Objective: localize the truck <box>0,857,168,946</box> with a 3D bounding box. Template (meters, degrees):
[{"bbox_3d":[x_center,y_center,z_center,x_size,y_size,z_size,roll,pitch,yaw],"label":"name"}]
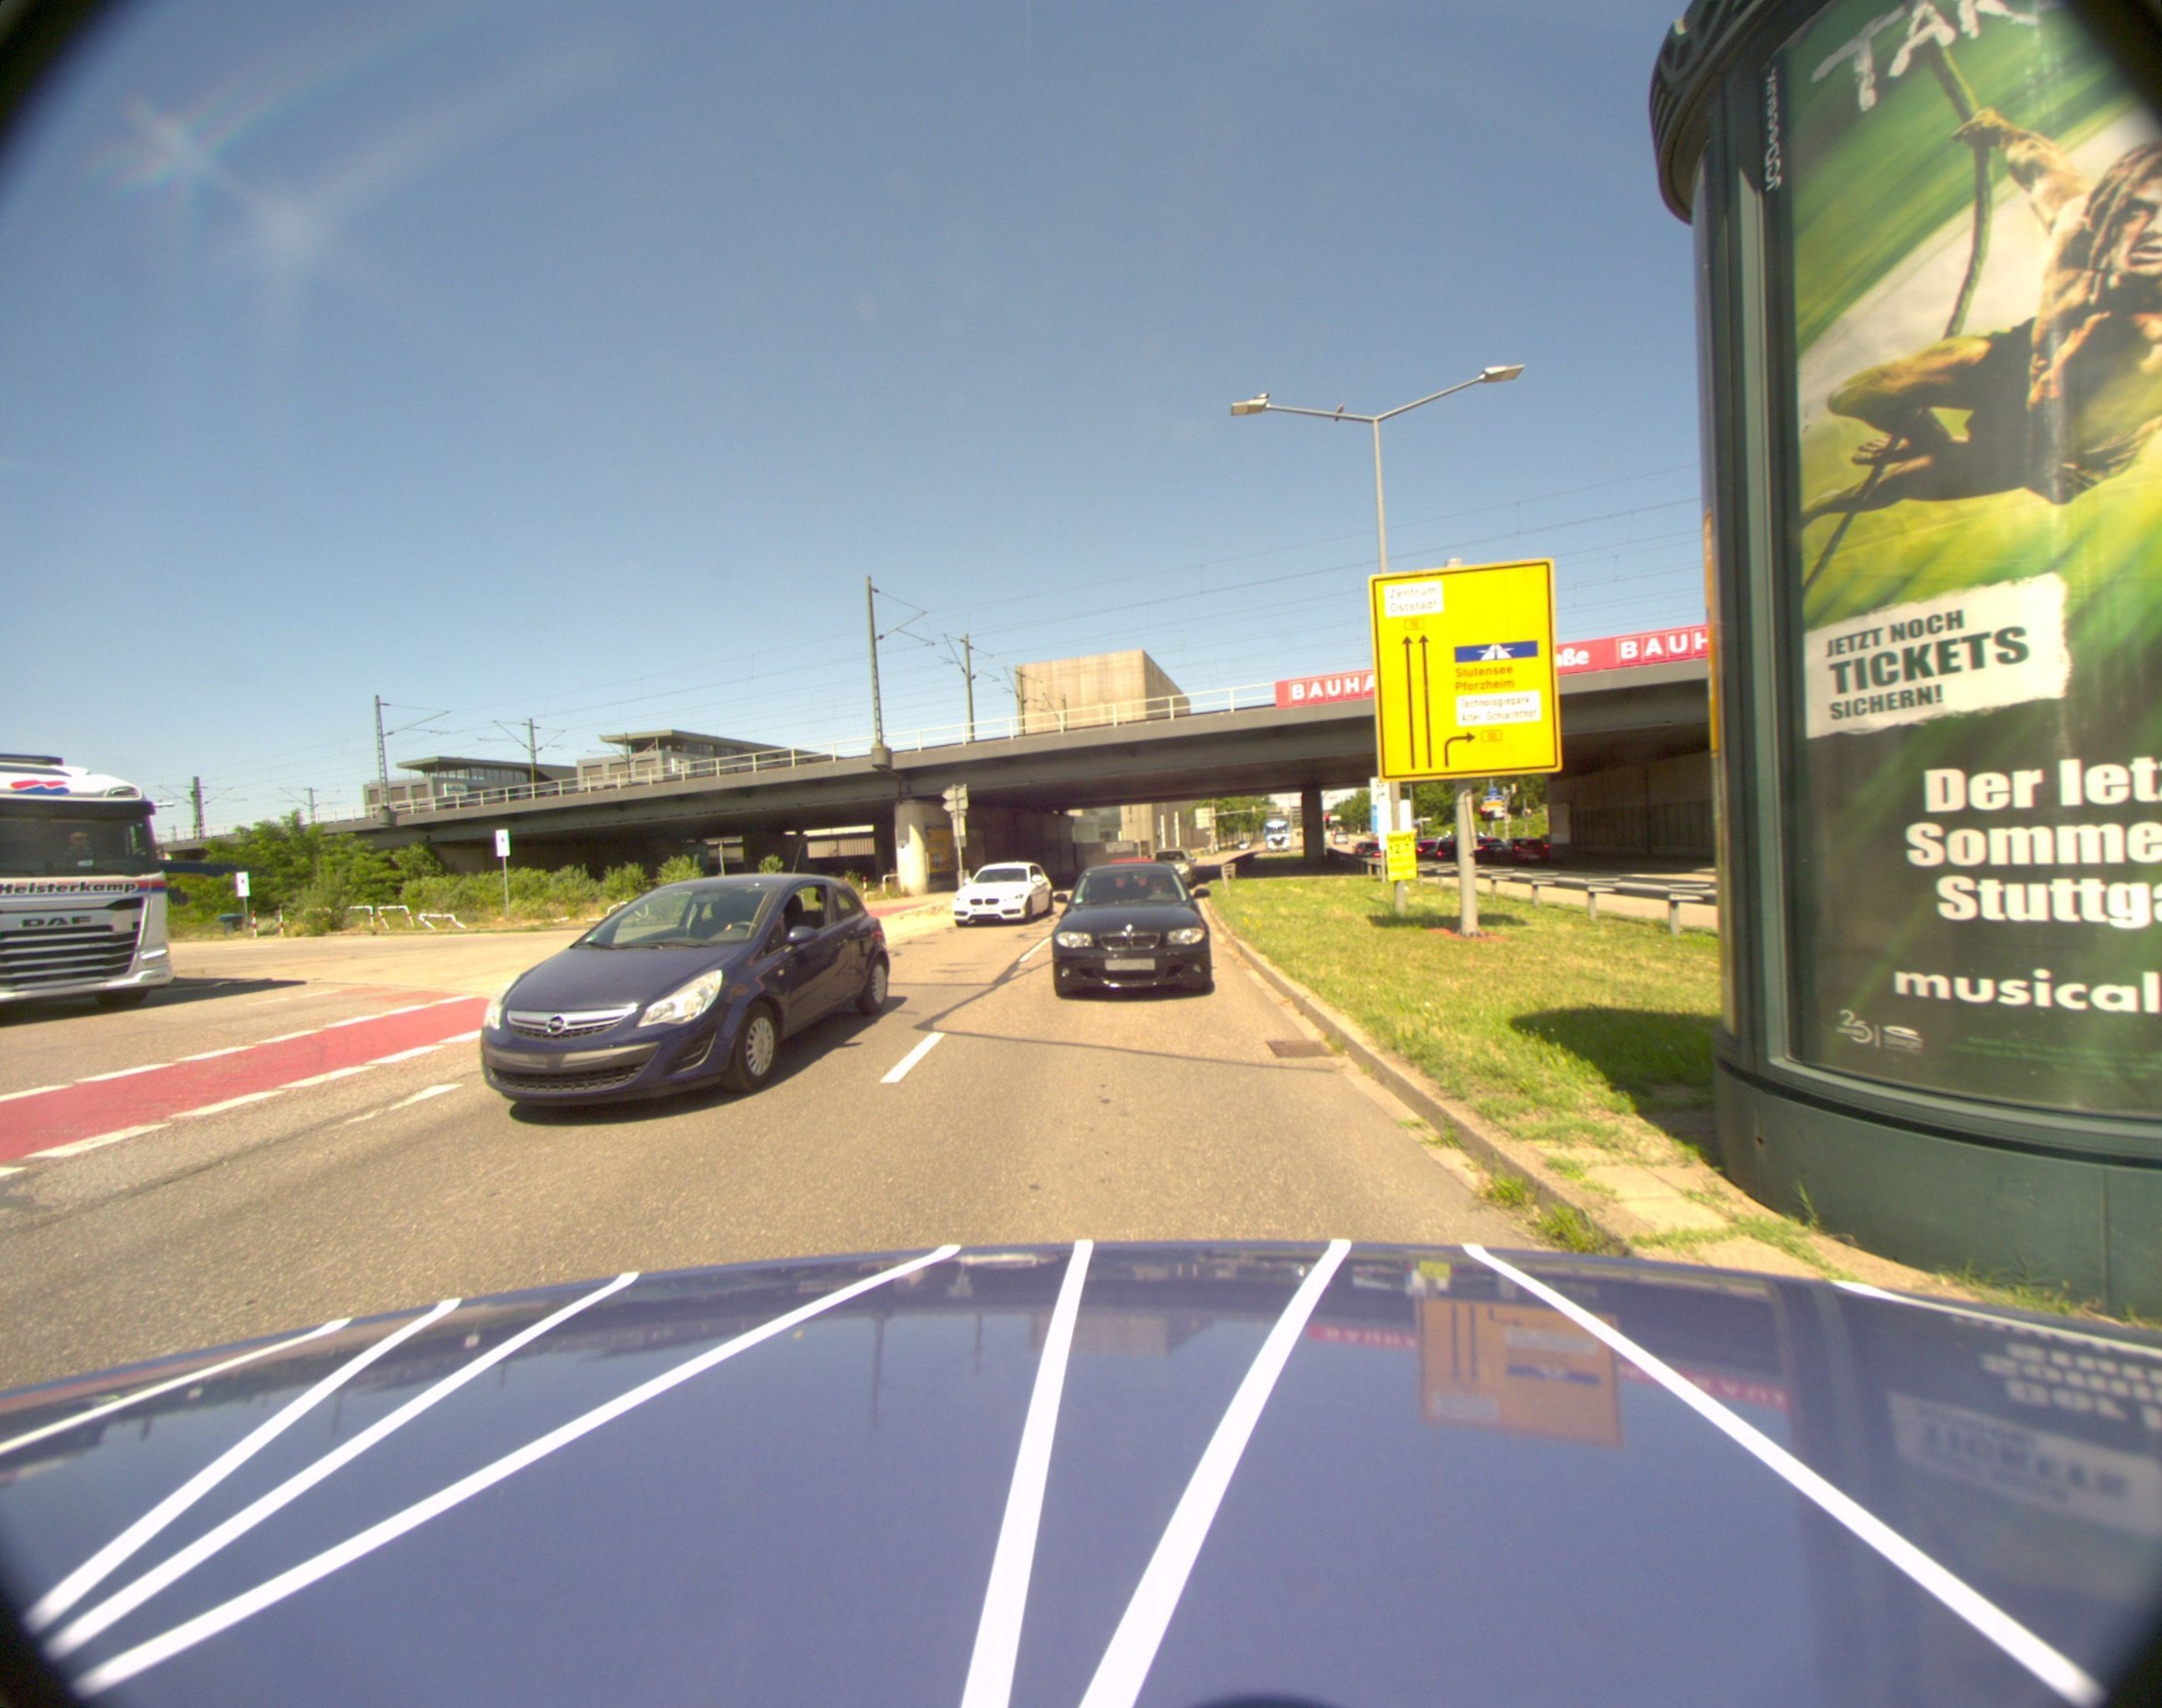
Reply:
[{"bbox_3d":[-50.722,2.242,38.373,2.595,4.014,6.198,-3,1,-15],"label":"truck"}]

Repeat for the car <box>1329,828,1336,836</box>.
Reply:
[{"bbox_3d":[73.786,-6.439,222.864,1.996,2.002,4.004,-2,1,17],"label":"car"}]

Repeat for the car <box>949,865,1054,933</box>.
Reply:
[{"bbox_3d":[-1.833,1.030,18.877,1.762,1.435,4.054,-1,0,6],"label":"car"}]

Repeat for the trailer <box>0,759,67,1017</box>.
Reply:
[{"bbox_3d":[-23.630,0.893,14.289,13.873,4.066,2.504,-3,1,25],"label":"trailer"}]

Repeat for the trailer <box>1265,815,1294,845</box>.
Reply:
[{"bbox_3d":[25.244,-2.993,96.024,2.959,3.354,13.909,-2,1,17],"label":"trailer"}]

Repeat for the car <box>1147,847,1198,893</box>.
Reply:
[{"bbox_3d":[3.797,0.598,31.078,1.844,1.686,3.702,-2,1,9],"label":"car"}]

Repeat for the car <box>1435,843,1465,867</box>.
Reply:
[{"bbox_3d":[19.791,0.030,40.823,1.269,1.178,2.781,-2,1,22],"label":"car"}]

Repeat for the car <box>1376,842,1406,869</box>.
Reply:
[{"bbox_3d":[16.646,0.057,40.916,1.410,1.311,3.265,-2,1,21],"label":"car"}]

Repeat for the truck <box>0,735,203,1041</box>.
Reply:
[{"bbox_3d":[-17.000,0.534,11.517,5.750,4.078,2.579,-2,1,17],"label":"truck"}]

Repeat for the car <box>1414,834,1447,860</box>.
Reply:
[{"bbox_3d":[21.416,-0.447,46.628,1.617,1.468,3.437,-2,1,22],"label":"car"}]

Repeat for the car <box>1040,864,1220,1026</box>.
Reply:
[{"bbox_3d":[0.520,0.903,9.355,1.681,1.409,4.056,-2,1,1],"label":"car"}]

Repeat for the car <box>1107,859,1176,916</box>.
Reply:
[{"bbox_3d":[1.758,0.859,21.025,1.645,1.390,4.055,-1,0,8],"label":"car"}]

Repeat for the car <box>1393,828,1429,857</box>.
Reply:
[{"bbox_3d":[23.093,-0.811,53.281,1.904,1.849,4.005,-2,1,19],"label":"car"}]

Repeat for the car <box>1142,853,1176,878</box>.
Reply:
[{"bbox_3d":[5.157,0.747,49.851,1.715,1.434,4.003,-2,1,12],"label":"car"}]

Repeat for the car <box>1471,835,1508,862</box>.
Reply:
[{"bbox_3d":[24.218,-0.327,45.126,1.571,1.494,3.412,-2,1,22],"label":"car"}]

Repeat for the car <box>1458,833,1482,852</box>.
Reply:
[{"bbox_3d":[26.355,-0.801,51.543,1.183,1.241,2.696,-2,1,22],"label":"car"}]

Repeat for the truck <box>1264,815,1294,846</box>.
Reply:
[{"bbox_3d":[23.525,-2.750,89.901,3.017,3.397,6.573,-2,1,17],"label":"truck"}]

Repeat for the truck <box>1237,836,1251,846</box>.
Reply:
[{"bbox_3d":[25.238,-2.049,117.515,1.729,1.493,4.004,-2,1,17],"label":"truck"}]

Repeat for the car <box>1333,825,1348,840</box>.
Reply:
[{"bbox_3d":[38.383,-3.136,112.175,1.996,2.002,4.005,-2,1,19],"label":"car"}]

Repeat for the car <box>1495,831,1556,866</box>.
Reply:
[{"bbox_3d":[22.970,-0.331,39.394,1.774,1.658,4.019,-2,1,16],"label":"car"}]

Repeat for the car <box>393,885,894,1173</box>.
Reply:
[{"bbox_3d":[-2.954,1.075,6.225,1.650,1.435,3.892,-2,0,3],"label":"car"}]

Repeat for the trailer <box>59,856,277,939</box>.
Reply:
[{"bbox_3d":[-52.230,2.240,44.099,2.582,4.100,10.034,-3,1,-15],"label":"trailer"}]
